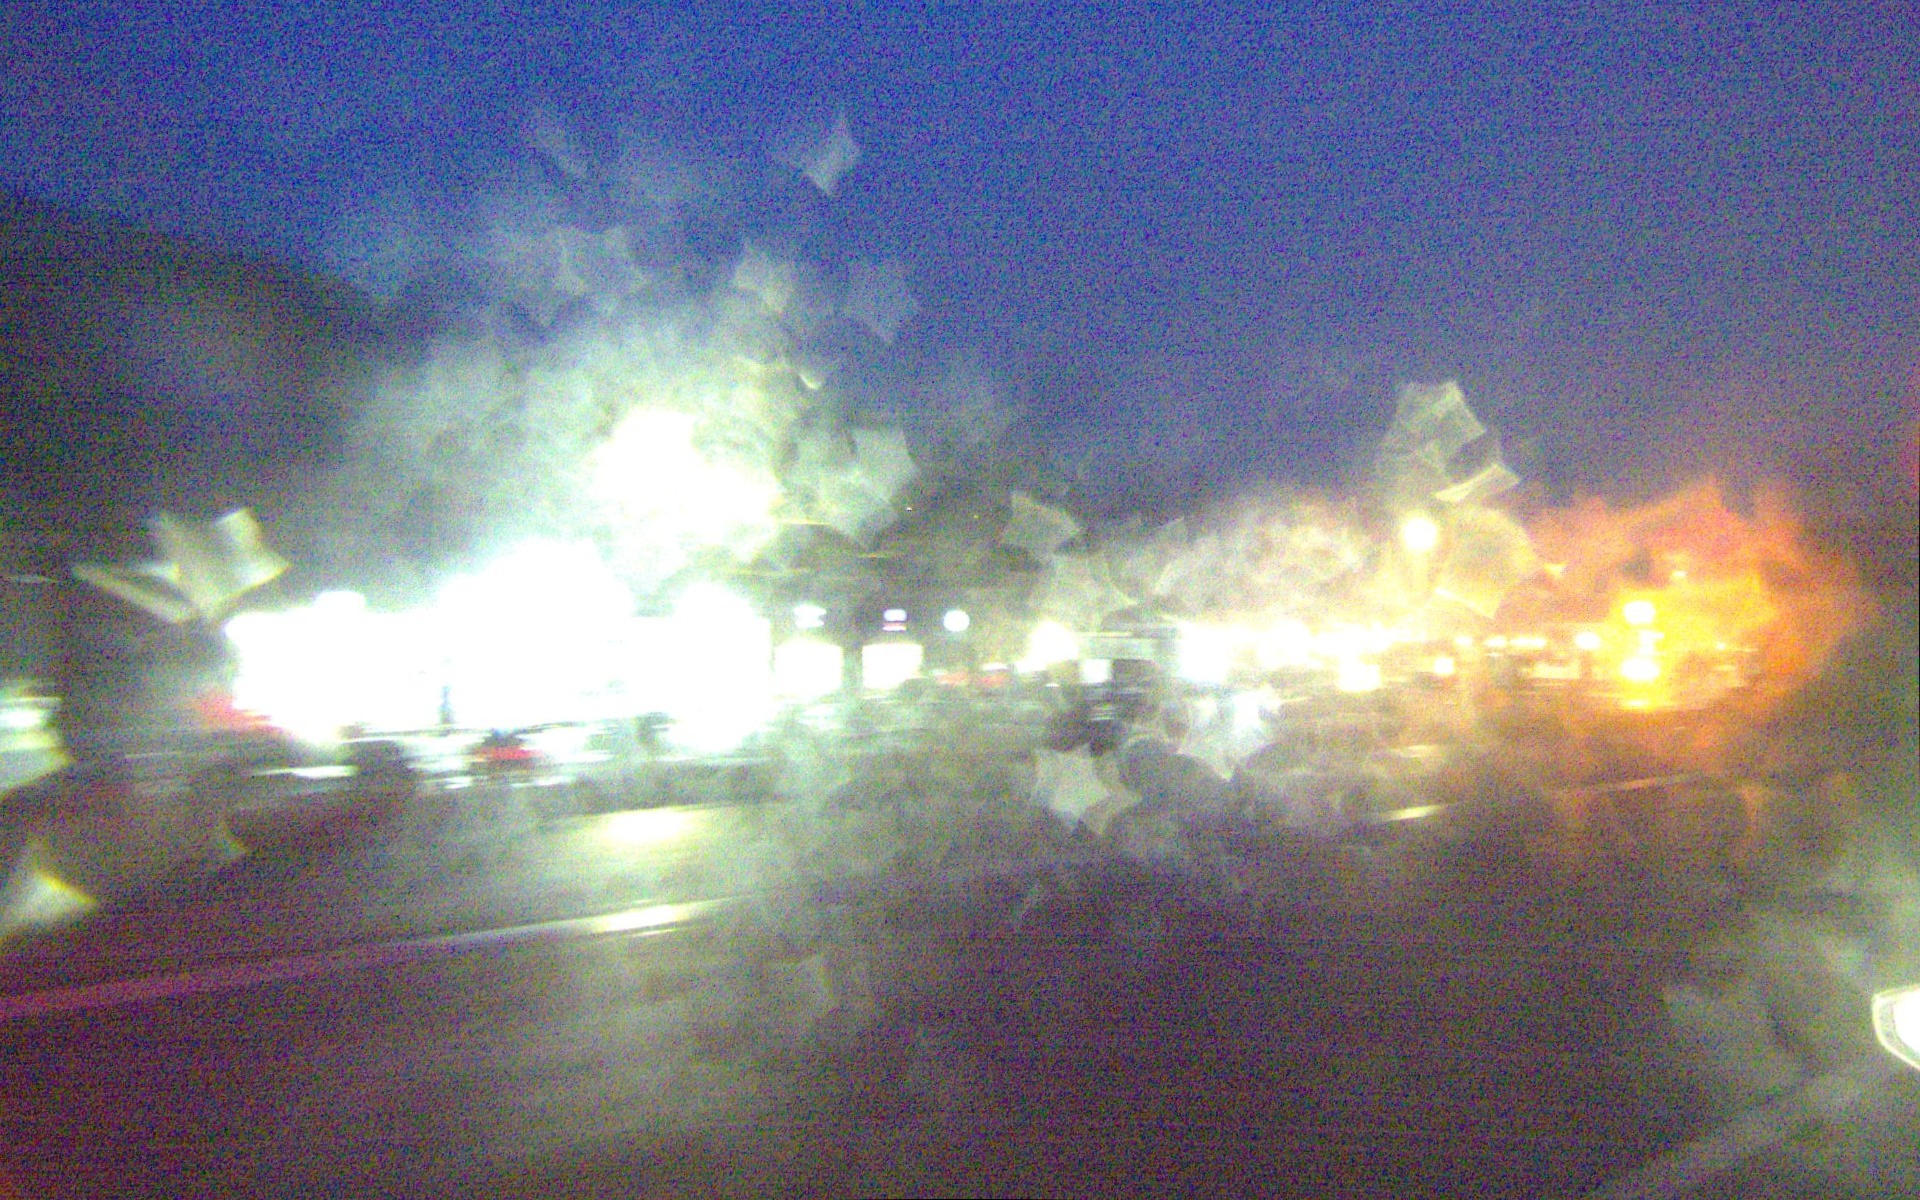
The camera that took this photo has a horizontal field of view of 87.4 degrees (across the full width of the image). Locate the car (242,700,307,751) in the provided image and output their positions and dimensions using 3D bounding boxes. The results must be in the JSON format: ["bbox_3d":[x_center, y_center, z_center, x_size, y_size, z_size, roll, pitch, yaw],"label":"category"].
[{"bbox_3d":[-26.670,4.885,39.203,1.912,1.879,3.967,3,-8,-33],"label":"car"}]

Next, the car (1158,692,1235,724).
[{"bbox_3d":[12.674,5.778,53.755,3.961,1.616,1.761,3,-8,-35],"label":"car"}]

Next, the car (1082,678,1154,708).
[{"bbox_3d":[9.130,5.343,57.907,3.961,1.616,1.761,3,-8,-35],"label":"car"}]

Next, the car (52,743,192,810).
[{"bbox_3d":[-18.368,3.828,22.192,1.828,1.216,3.967,3,-8,-33],"label":"car"}]

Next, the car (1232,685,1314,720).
[{"bbox_3d":[15.525,5.062,49.807,3.961,1.616,1.761,3,-8,-35],"label":"car"}]

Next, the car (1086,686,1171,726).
[{"bbox_3d":[7.286,4.545,43.360,3.482,1.638,1.734,3,-6,-37],"label":"car"}]

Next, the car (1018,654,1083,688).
[{"bbox_3d":[6.687,5.227,74.155,4.408,2.294,1.983,3,-1,-31],"label":"car"}]

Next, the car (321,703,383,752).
[{"bbox_3d":[-24.784,5.167,40.864,1.979,1.879,3.967,3,-8,-33],"label":"car"}]

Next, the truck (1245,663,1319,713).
[{"bbox_3d":[22.187,6.046,69.088,5.664,3.215,1.987,4,-8,-39],"label":"truck"}]

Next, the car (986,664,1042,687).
[{"bbox_3d":[4.244,5.902,78.570,3.952,1.735,1.850,3,-1,-29],"label":"car"}]

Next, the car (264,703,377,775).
[{"bbox_3d":[-19.697,4.192,30.887,3.943,1.662,1.989,1,-1,43],"label":"car"}]

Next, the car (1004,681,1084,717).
[{"bbox_3d":[3.935,4.607,46.897,3.482,1.638,1.734,3,-6,-37],"label":"car"}]

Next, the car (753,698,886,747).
[{"bbox_3d":[-5.081,4.452,36.918,1.969,1.586,4.836,-5,-7,37],"label":"car"}]

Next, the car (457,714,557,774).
[{"bbox_3d":[-12.420,3.890,27.405,1.891,1.473,3.967,3,-8,-33],"label":"car"}]

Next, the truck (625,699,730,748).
[{"bbox_3d":[-13.526,5.908,48.191,4.455,2.145,2.069,3,-8,-38],"label":"truck"}]

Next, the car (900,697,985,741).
[{"bbox_3d":[-0.636,4.653,39.694,1.783,1.586,4.207,-3,-6,23],"label":"car"}]

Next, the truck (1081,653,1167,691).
[{"bbox_3d":[11.603,5.011,70.629,6.440,2.495,2.301,3,-1,-40],"label":"truck"}]

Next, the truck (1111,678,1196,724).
[{"bbox_3d":[10.791,5.594,55.795,4.771,2.475,1.761,3,-7,-35],"label":"truck"}]

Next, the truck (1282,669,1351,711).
[{"bbox_3d":[23.686,5.959,66.693,5.135,2.664,1.759,4,-8,-39],"label":"truck"}]

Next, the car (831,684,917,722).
[{"bbox_3d":[-3.747,4.520,44.339,1.962,1.586,4.410,-3,-6,23],"label":"car"}]

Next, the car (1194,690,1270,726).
[{"bbox_3d":[14.039,5.566,51.811,3.714,1.714,1.761,3,-8,-35],"label":"car"}]

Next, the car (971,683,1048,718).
[{"bbox_3d":[2.428,4.887,48.967,3.482,1.638,1.668,3,-6,-38],"label":"car"}]

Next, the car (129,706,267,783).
[{"bbox_3d":[-21.977,4.083,28.953,3.932,1.662,1.994,1,-1,34],"label":"car"}]
